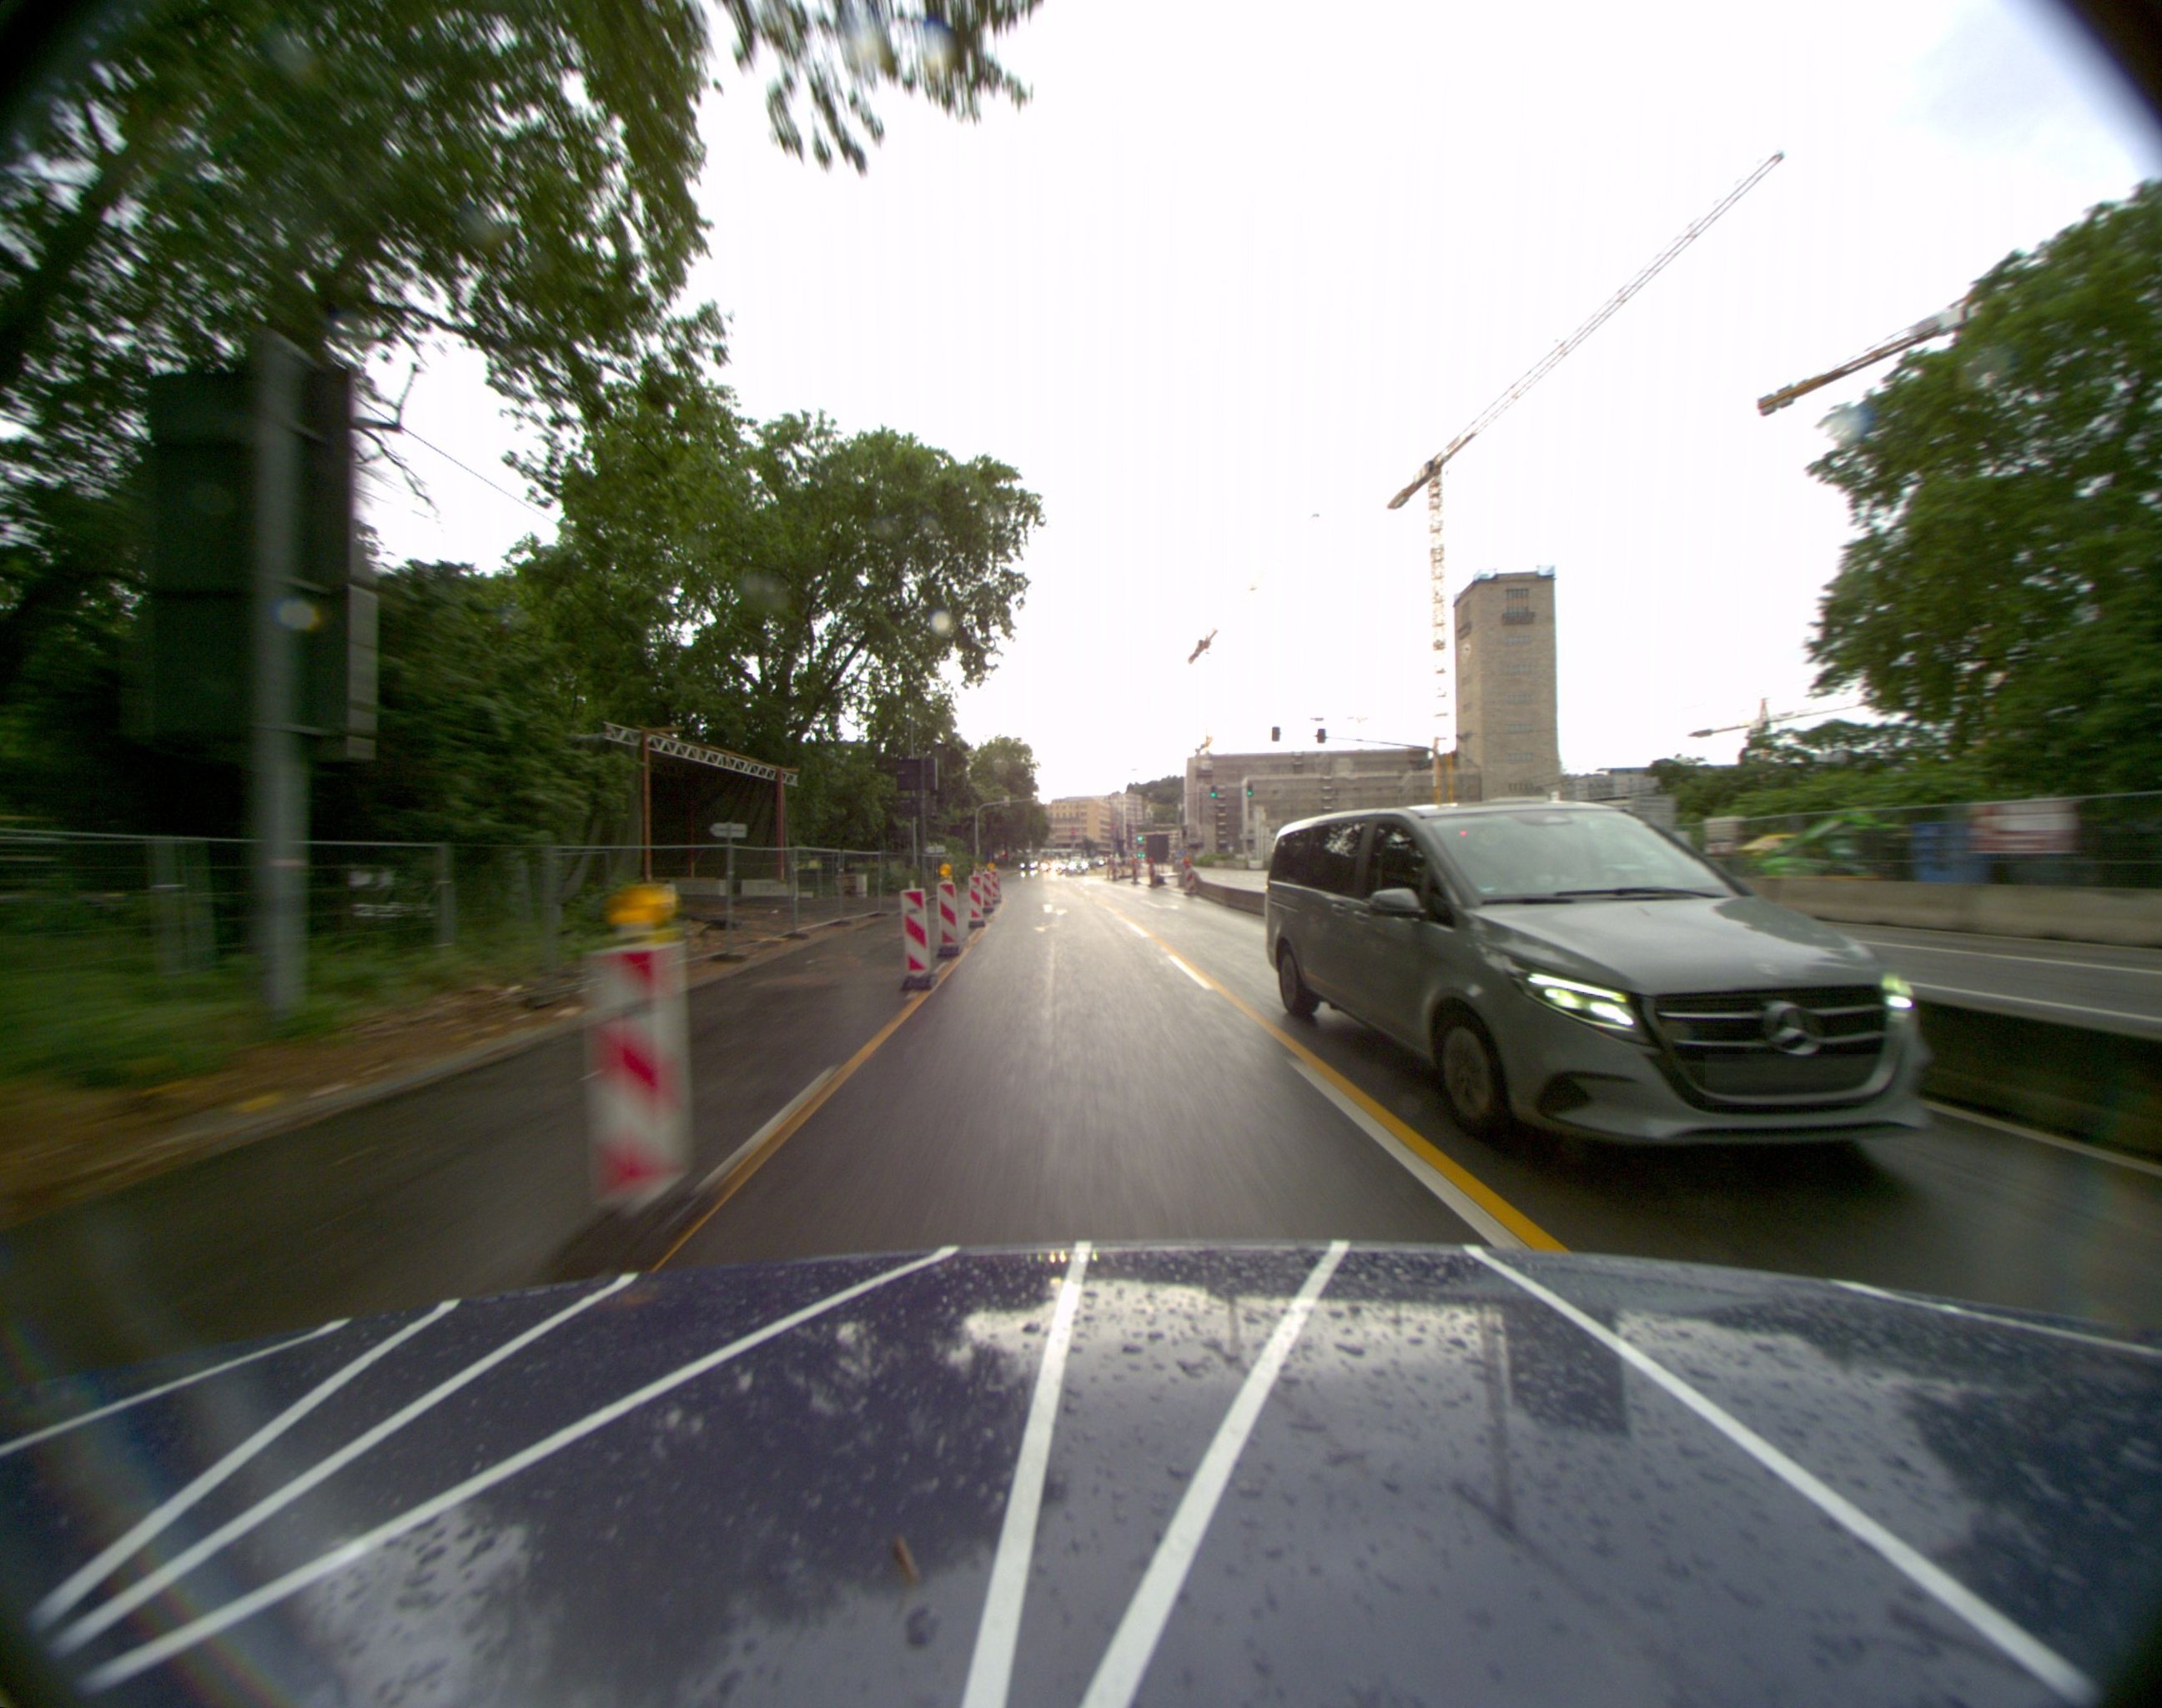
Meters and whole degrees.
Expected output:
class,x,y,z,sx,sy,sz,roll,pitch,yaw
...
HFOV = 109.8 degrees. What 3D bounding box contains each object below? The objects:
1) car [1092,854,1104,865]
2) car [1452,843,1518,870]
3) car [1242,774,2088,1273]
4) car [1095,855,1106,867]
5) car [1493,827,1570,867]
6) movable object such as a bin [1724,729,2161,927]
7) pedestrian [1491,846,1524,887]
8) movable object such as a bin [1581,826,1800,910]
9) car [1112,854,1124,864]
class,x,y,z,sx,sy,sz,roll,pitch,yaw
car,2.808,0.959,126.332,1.998,1.803,4.293,0,0,0
car,27.513,0.148,51.947,1.850,1.751,4.796,0,0,-2
car,2.842,0.682,5.617,1.999,1.845,5.357,-2,-1,-1
car,3.548,1.251,141.174,1.998,2.101,4.714,0,0,1
car,35.907,-0.538,60.822,2.280,3.048,6.167,0,0,-2
movable object such as a bin,25.116,-0.643,22.622,4.762,4.775,8.358,0,0,-1
pedestrian,21.088,0.606,37.562,1.180,2.002,1.176,-1,1,42
movable object such as a bin,24.942,0.527,31.652,3.942,3.110,6.387,0,0,-1
car,6.110,0.754,125.764,1.832,1.643,4.573,0,0,0
